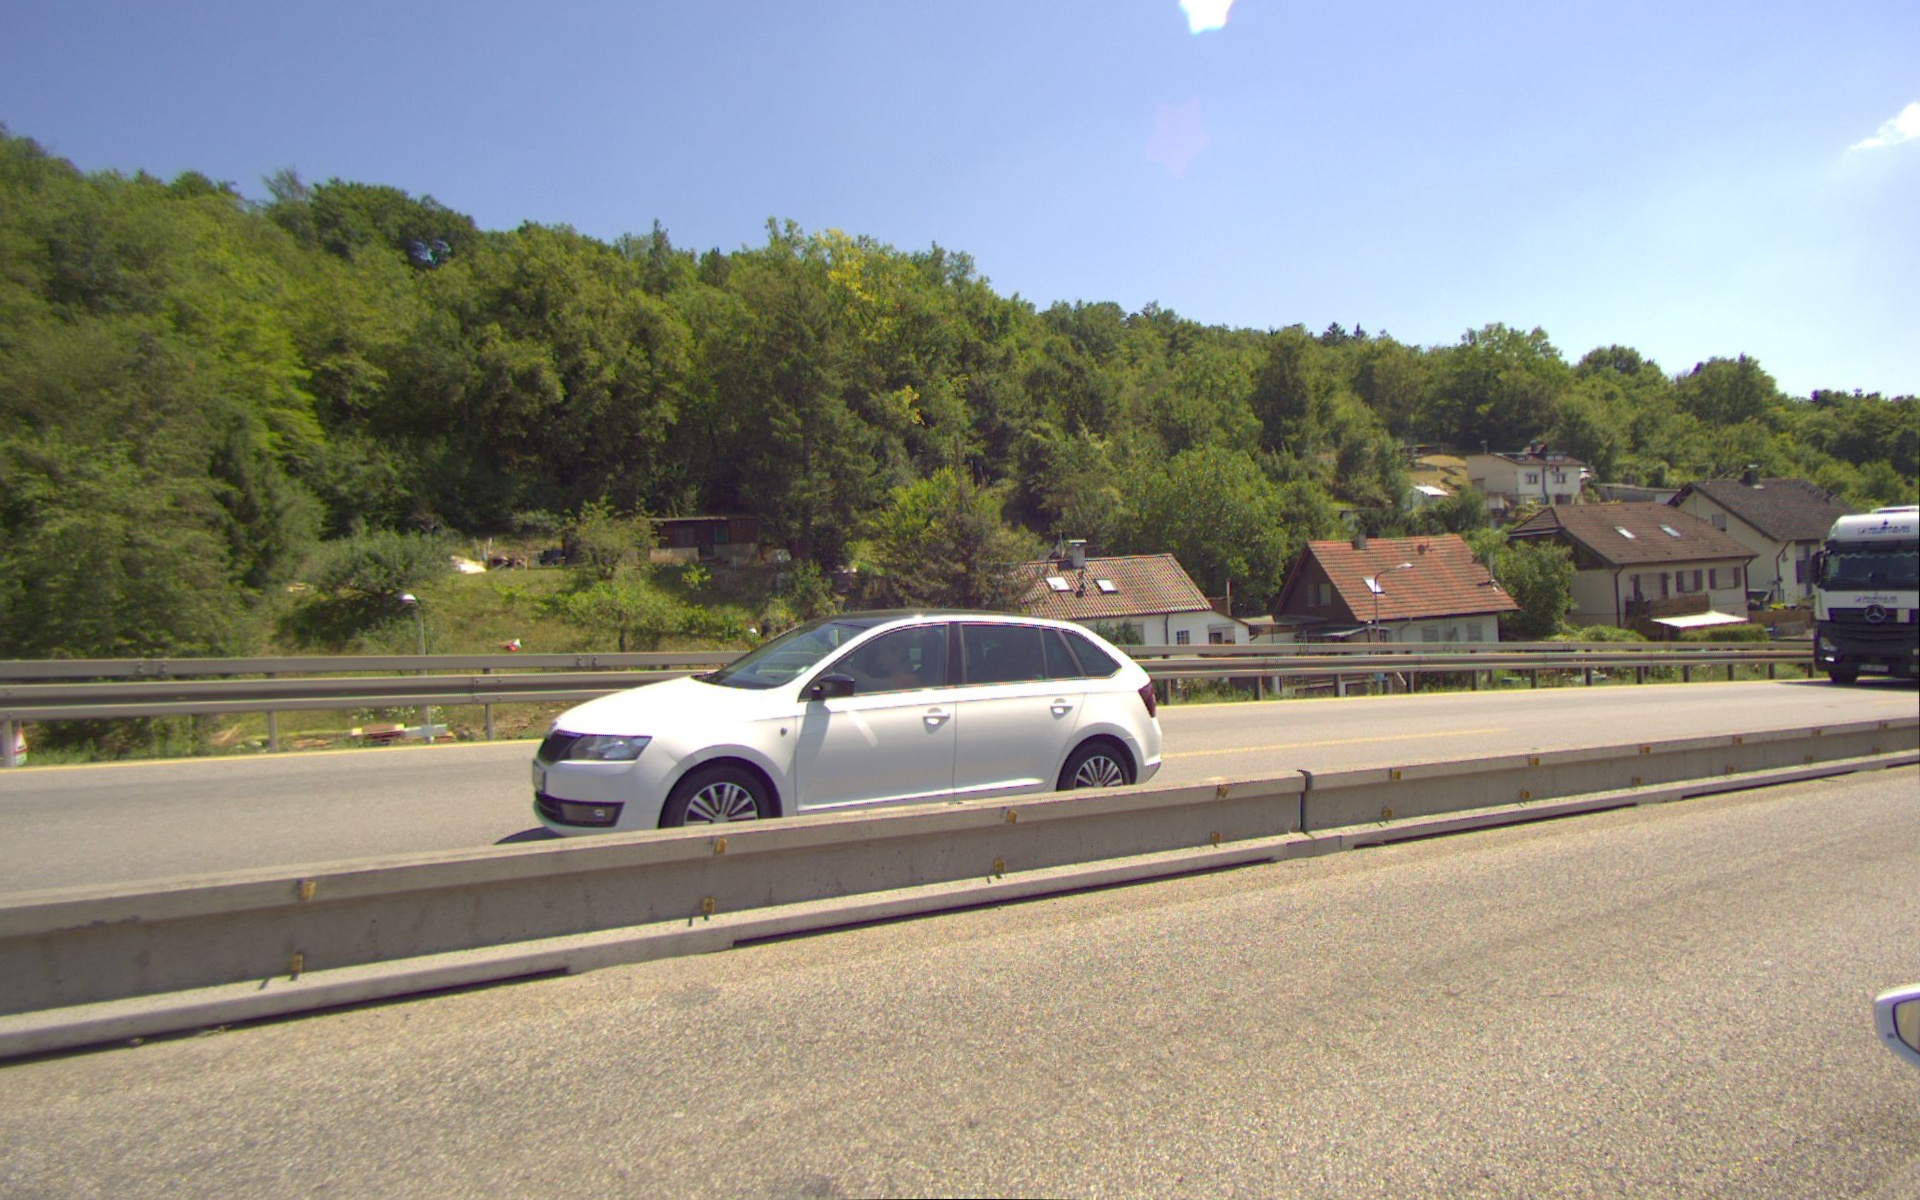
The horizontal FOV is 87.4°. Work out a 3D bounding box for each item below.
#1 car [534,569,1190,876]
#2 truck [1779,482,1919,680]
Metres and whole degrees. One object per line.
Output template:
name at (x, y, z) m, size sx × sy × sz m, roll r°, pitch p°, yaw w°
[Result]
car at (-0.546, 0.704, 6.757) m, size 4.104 × 1.541 × 1.574 m, roll 2°, pitch -2°, yaw -30°
truck at (24.636, -0.356, 24.846) m, size 10.412 × 4.218 × 2.966 m, roll 1°, pitch 0°, yaw -28°
